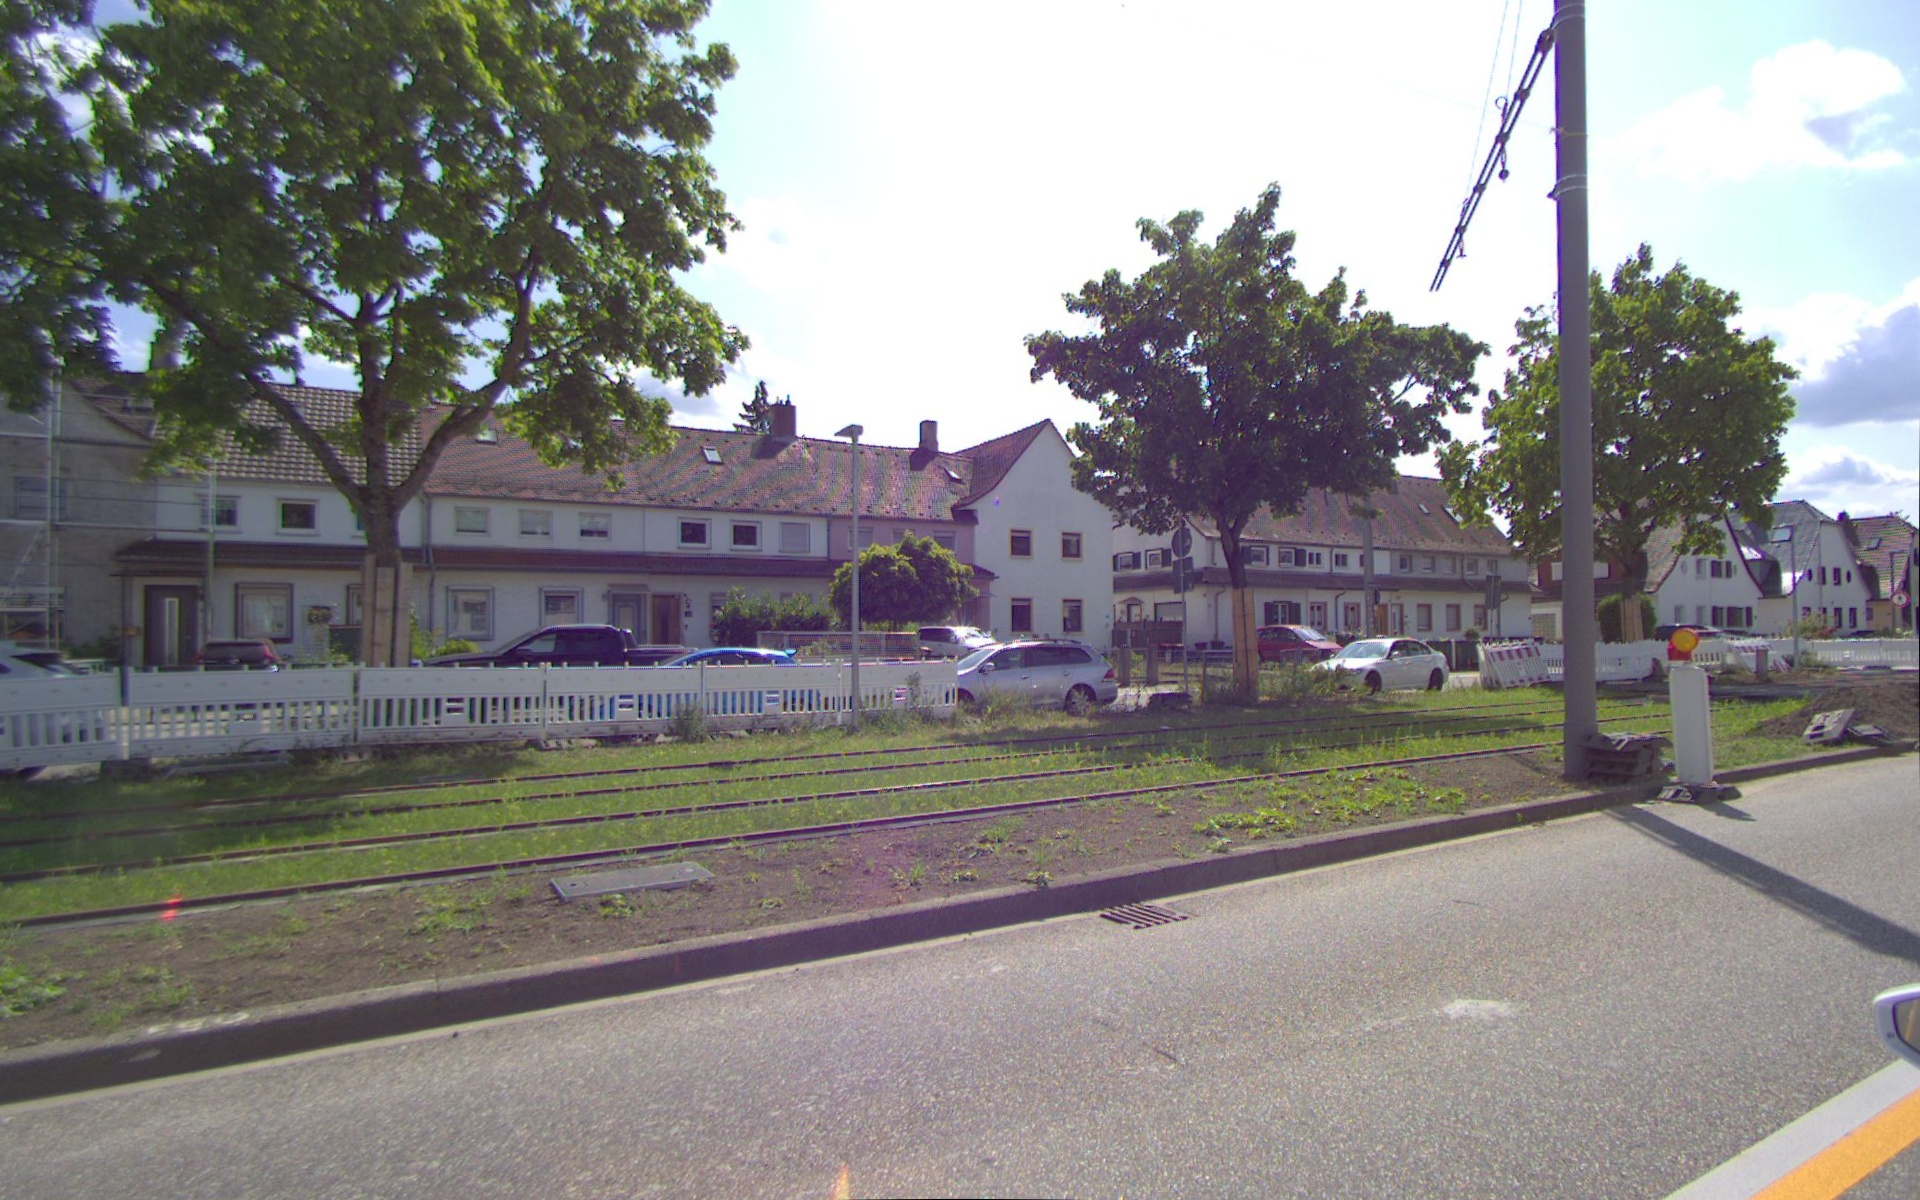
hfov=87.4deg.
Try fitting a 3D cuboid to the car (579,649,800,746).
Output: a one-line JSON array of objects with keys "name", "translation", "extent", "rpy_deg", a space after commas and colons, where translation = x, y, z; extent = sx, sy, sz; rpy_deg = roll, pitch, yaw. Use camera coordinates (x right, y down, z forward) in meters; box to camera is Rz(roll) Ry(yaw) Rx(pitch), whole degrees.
[{"name": "car", "translation": [-4.240, 1.464, 15.846], "extent": [3.136, 1.342, 1.332], "rpy_deg": [1, -2, -33]}]

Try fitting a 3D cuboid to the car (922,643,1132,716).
[{"name": "car", "translation": [1.277, 1.422, 18.695], "extent": [3.704, 1.192, 1.496], "rpy_deg": [1, -2, -31]}]

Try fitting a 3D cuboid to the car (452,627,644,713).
[{"name": "car", "translation": [-7.893, 1.295, 19.293], "extent": [3.272, 1.515, 1.376], "rpy_deg": [1, -2, -31]}]

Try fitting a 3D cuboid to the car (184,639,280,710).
[{"name": "car", "translation": [-16.098, 1.602, 22.304], "extent": [1.269, 1.398, 2.796], "rpy_deg": [1, -1, -27]}]

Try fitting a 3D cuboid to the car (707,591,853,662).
[{"name": "car", "translation": [-5.489, 0.813, 30.688], "extent": [3.954, 2.040, 1.983], "rpy_deg": [1, -1, -31]}]

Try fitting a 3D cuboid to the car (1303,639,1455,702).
[{"name": "car", "translation": [10.451, 1.705, 24.937], "extent": [4.211, 1.395, 1.530], "rpy_deg": [1, -3, -36]}]

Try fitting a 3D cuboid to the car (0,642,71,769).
[{"name": "car", "translation": [-11.978, 1.204, 11.044], "extent": [3.078, 1.395, 1.344], "rpy_deg": [0, -3, -31]}]

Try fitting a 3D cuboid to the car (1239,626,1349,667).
[{"name": "car", "translation": [13.146, 1.833, 39.766], "extent": [1.706, 1.529, 3.967], "rpy_deg": [1, -3, -31]}]

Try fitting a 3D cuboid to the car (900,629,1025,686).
[{"name": "car", "translation": [0.015, 1.862, 33.675], "extent": [1.784, 1.708, 4.370], "rpy_deg": [1, -1, -40]}]
